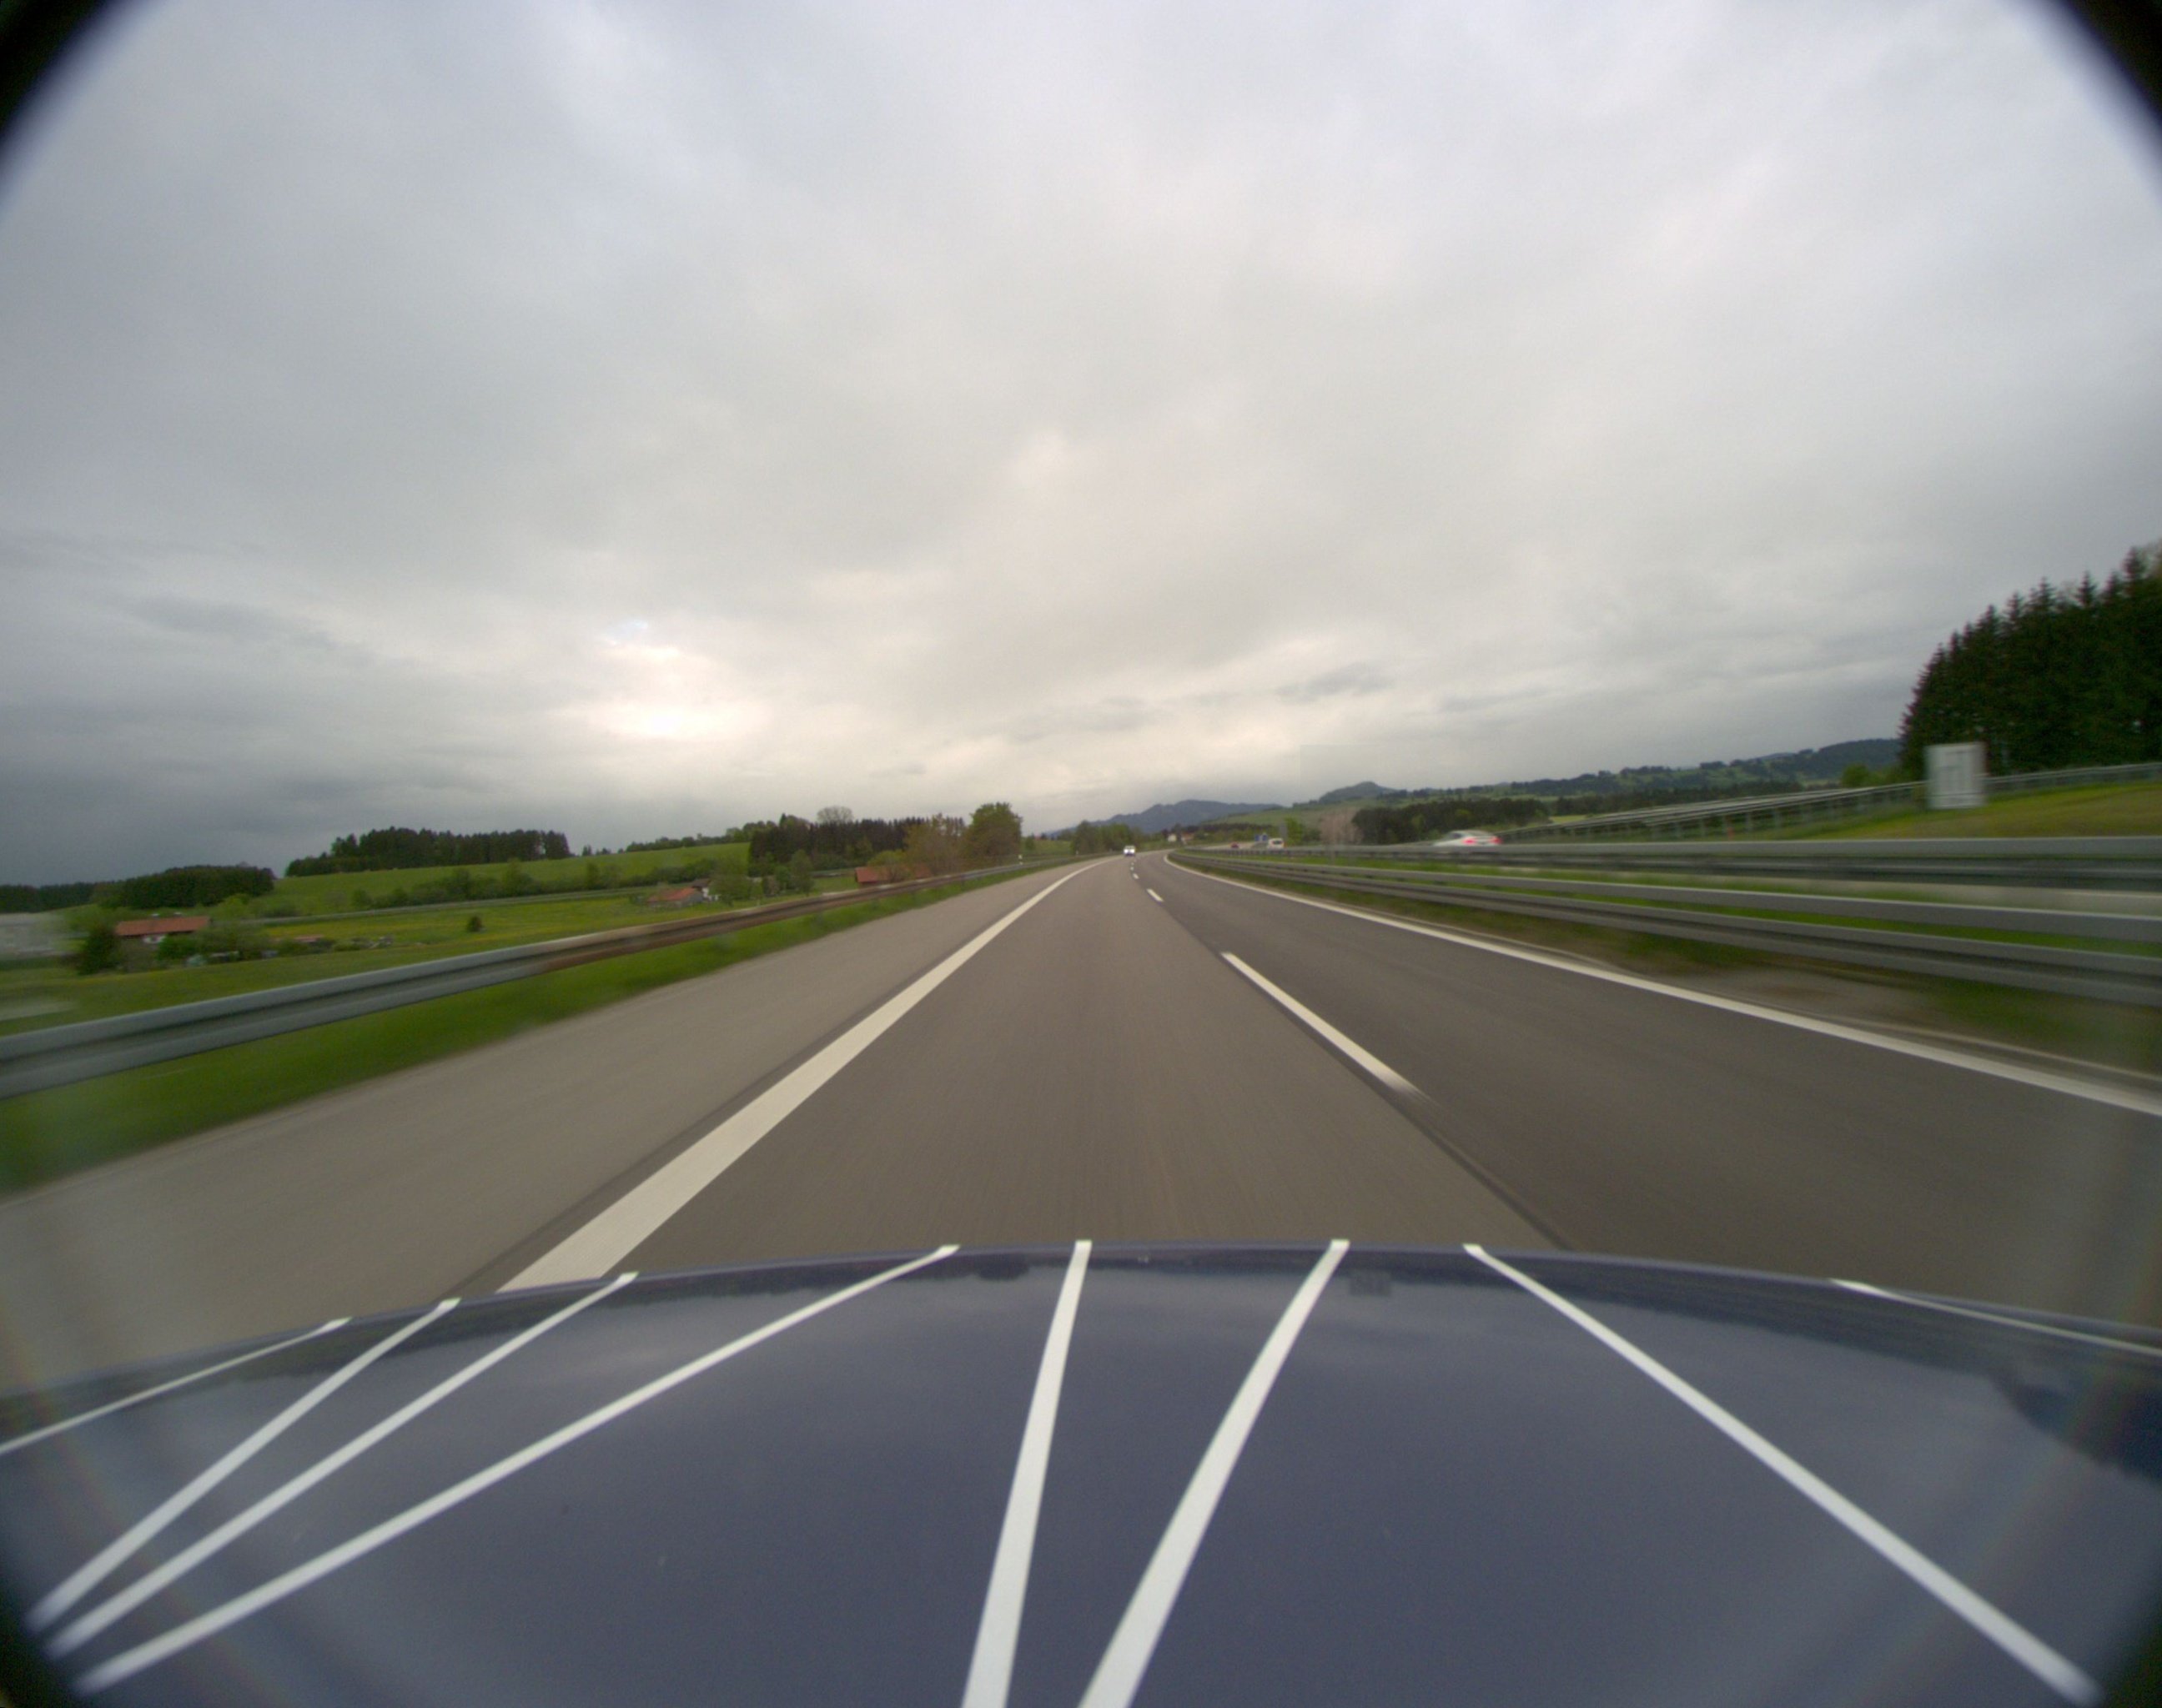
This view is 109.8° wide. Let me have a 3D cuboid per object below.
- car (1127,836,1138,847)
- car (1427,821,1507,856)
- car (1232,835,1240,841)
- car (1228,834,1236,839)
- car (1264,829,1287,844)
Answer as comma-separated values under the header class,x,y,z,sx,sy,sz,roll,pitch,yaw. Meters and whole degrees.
class,x,y,z,sx,sy,sz,roll,pitch,yaw
car,9.508,-2.290,140.318,2.020,1.899,4.221,-2,1,5
car,21.664,-0.863,42.923,2.040,1.681,5.055,-5,0,3
car,40.614,-4.169,199.447,1.997,1.431,5.003,-5,0,12
car,48.527,-5.629,243.951,1.996,1.409,4.004,-5,0,16
car,25.362,-2.283,99.257,1.998,1.676,4.628,-5,0,5
